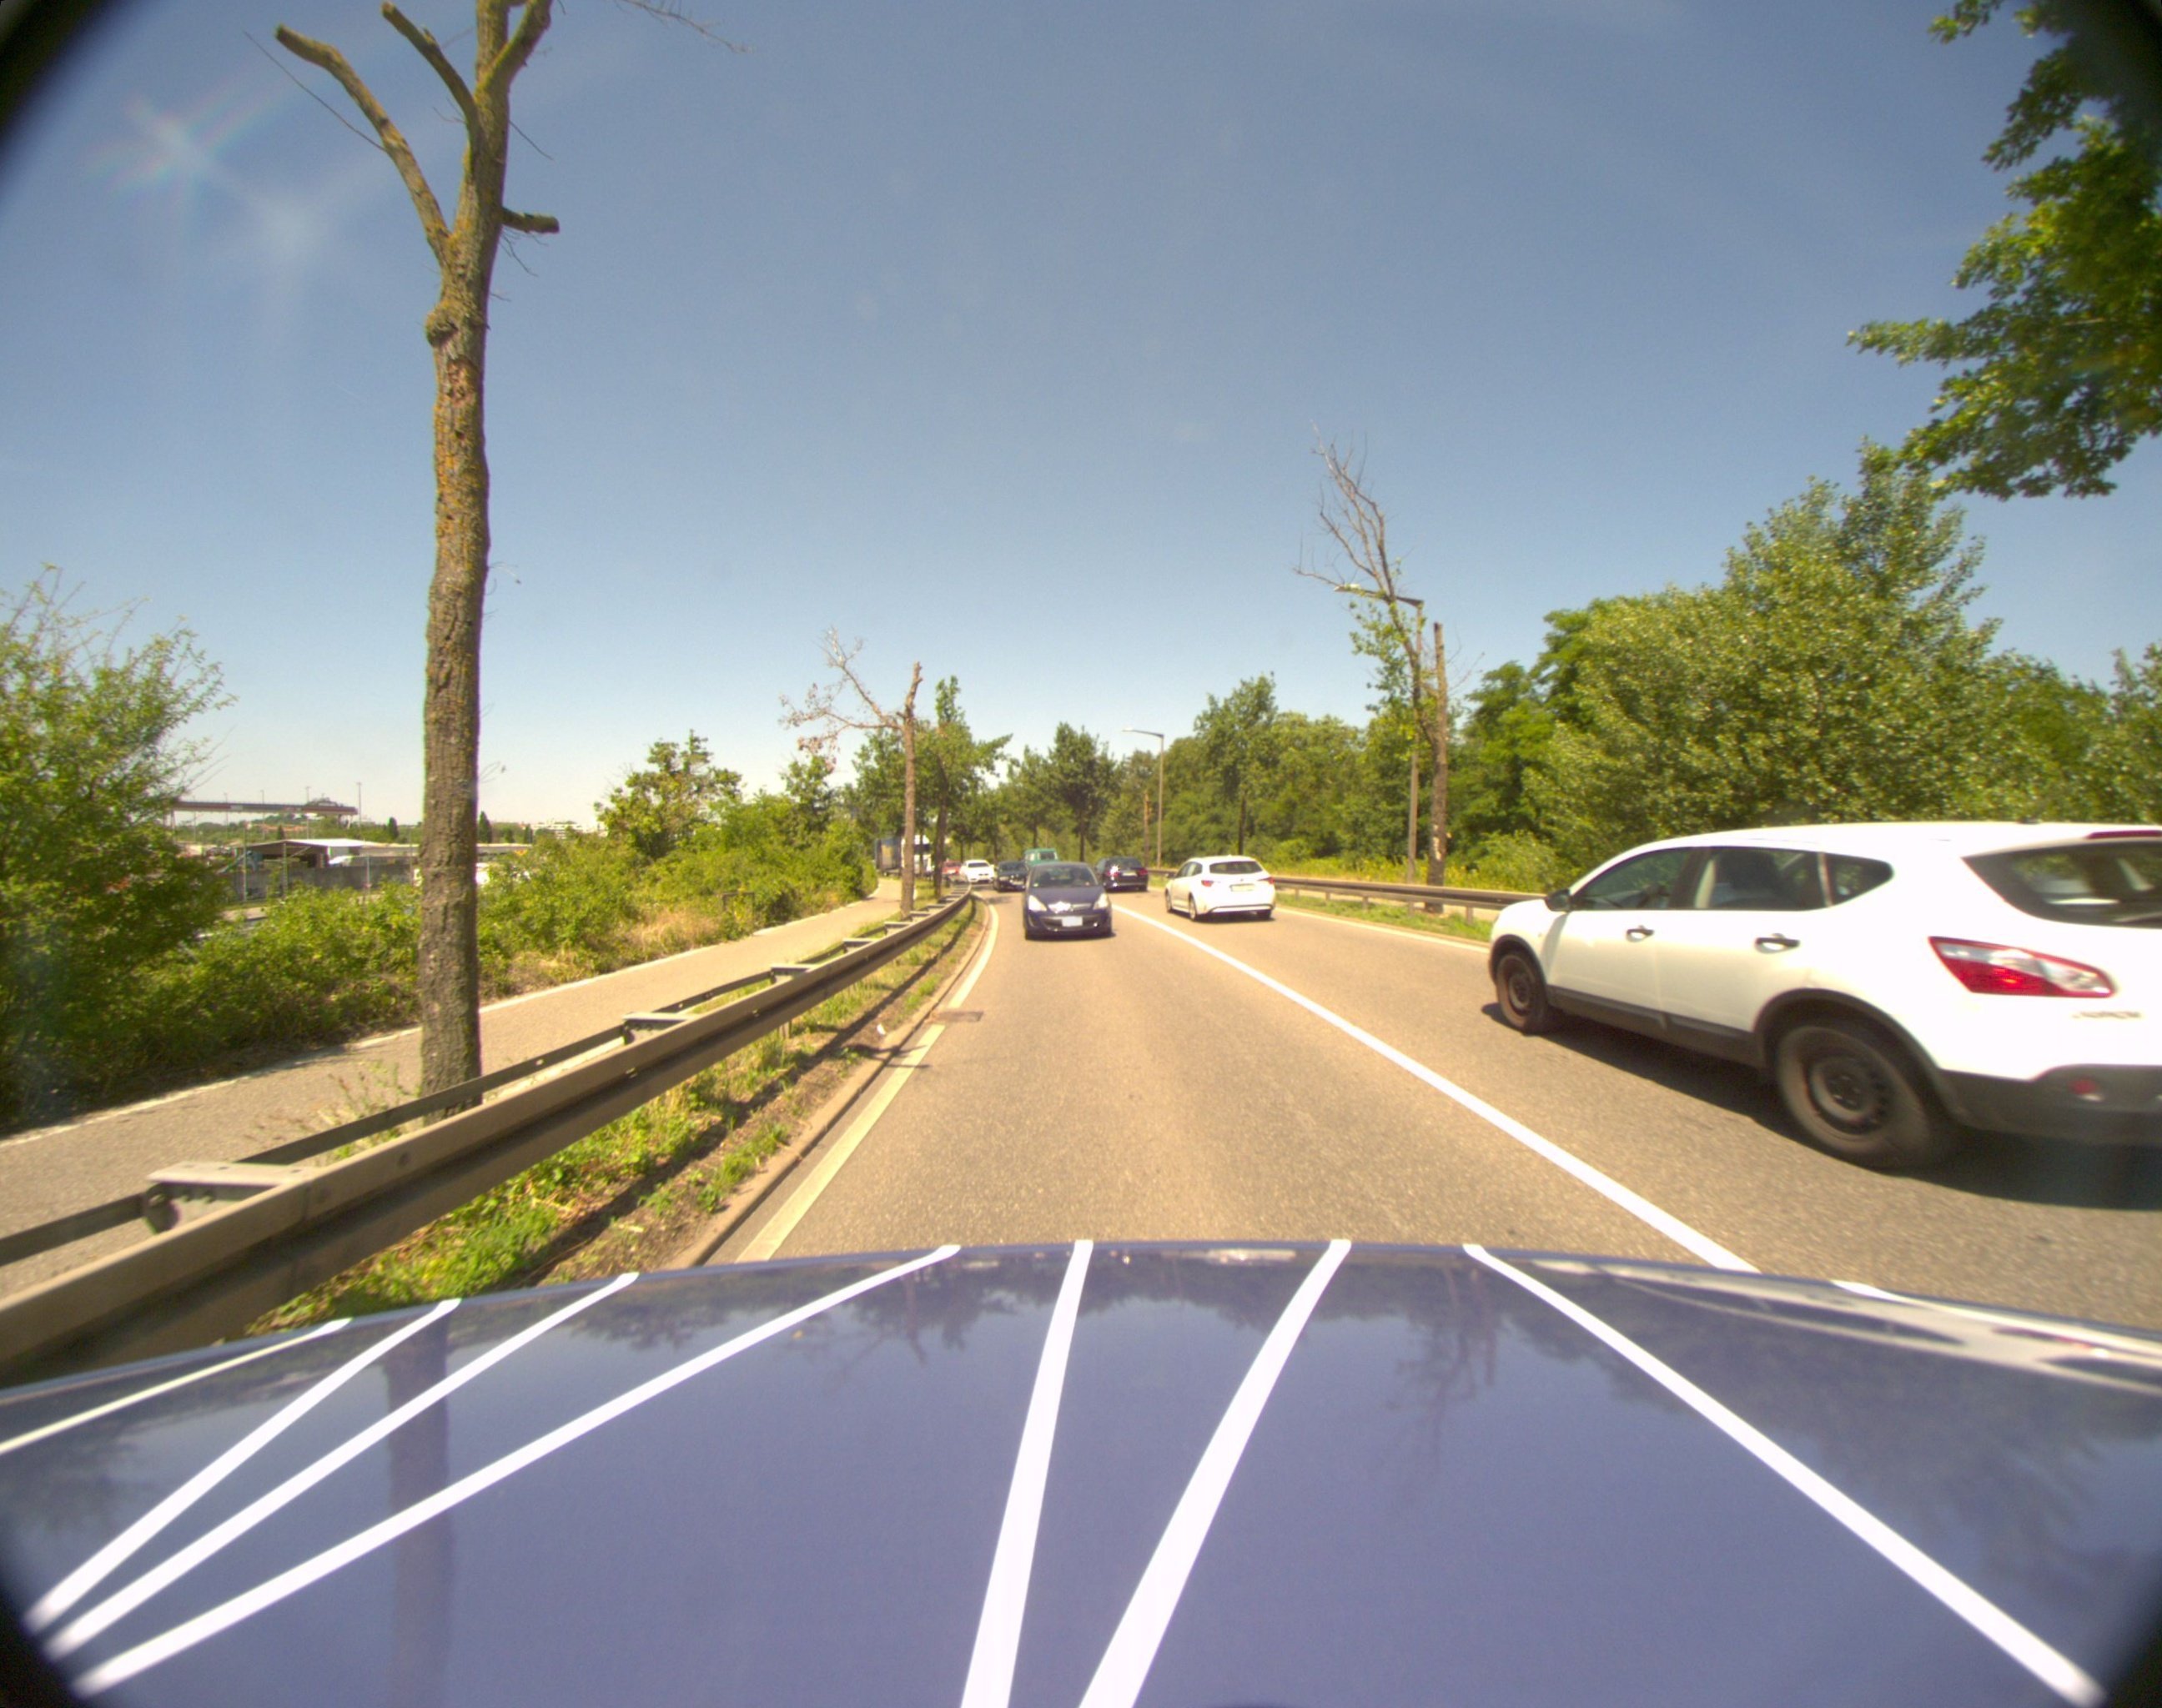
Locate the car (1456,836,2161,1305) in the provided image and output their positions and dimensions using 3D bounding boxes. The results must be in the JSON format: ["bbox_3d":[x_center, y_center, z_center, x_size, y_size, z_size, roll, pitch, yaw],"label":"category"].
[{"bbox_3d":[4.312,0.705,4.739,1.750,1.537,4.392,-2,0,0],"label":"car"}]

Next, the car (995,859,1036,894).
[{"bbox_3d":[-3.070,0.988,34.991,1.570,1.408,4.119,-2,0,-9],"label":"car"}]

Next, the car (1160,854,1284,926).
[{"bbox_3d":[3.202,0.757,18.189,1.706,1.438,4.457,-3,0,-5],"label":"car"}]

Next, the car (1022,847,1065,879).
[{"bbox_3d":[-2.504,0.555,49.293,1.837,1.927,4.769,-2,0,-14],"label":"car"}]

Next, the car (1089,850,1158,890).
[{"bbox_3d":[1.672,0.617,31.441,1.852,1.459,4.737,-2,0,-9],"label":"car"}]

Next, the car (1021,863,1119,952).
[{"bbox_3d":[-0.363,0.978,15.727,1.699,1.459,4.381,-2,0,-4],"label":"car"}]

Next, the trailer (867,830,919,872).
[{"bbox_3d":[-20.636,-0.255,82.551,2.886,4.189,13.981,-2,0,-24],"label":"trailer"}]

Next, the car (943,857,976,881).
[{"bbox_3d":[-9.404,1.130,58.634,1.903,1.645,4.250,-2,2,-18],"label":"car"}]

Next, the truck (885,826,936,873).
[{"bbox_3d":[-16.622,-0.410,73.772,2.863,4.244,8.798,-3,1,-25],"label":"truck"}]

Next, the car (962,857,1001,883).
[{"bbox_3d":[-6.034,0.919,45.707,1.819,1.420,3.710,-2,0,-15],"label":"car"}]
